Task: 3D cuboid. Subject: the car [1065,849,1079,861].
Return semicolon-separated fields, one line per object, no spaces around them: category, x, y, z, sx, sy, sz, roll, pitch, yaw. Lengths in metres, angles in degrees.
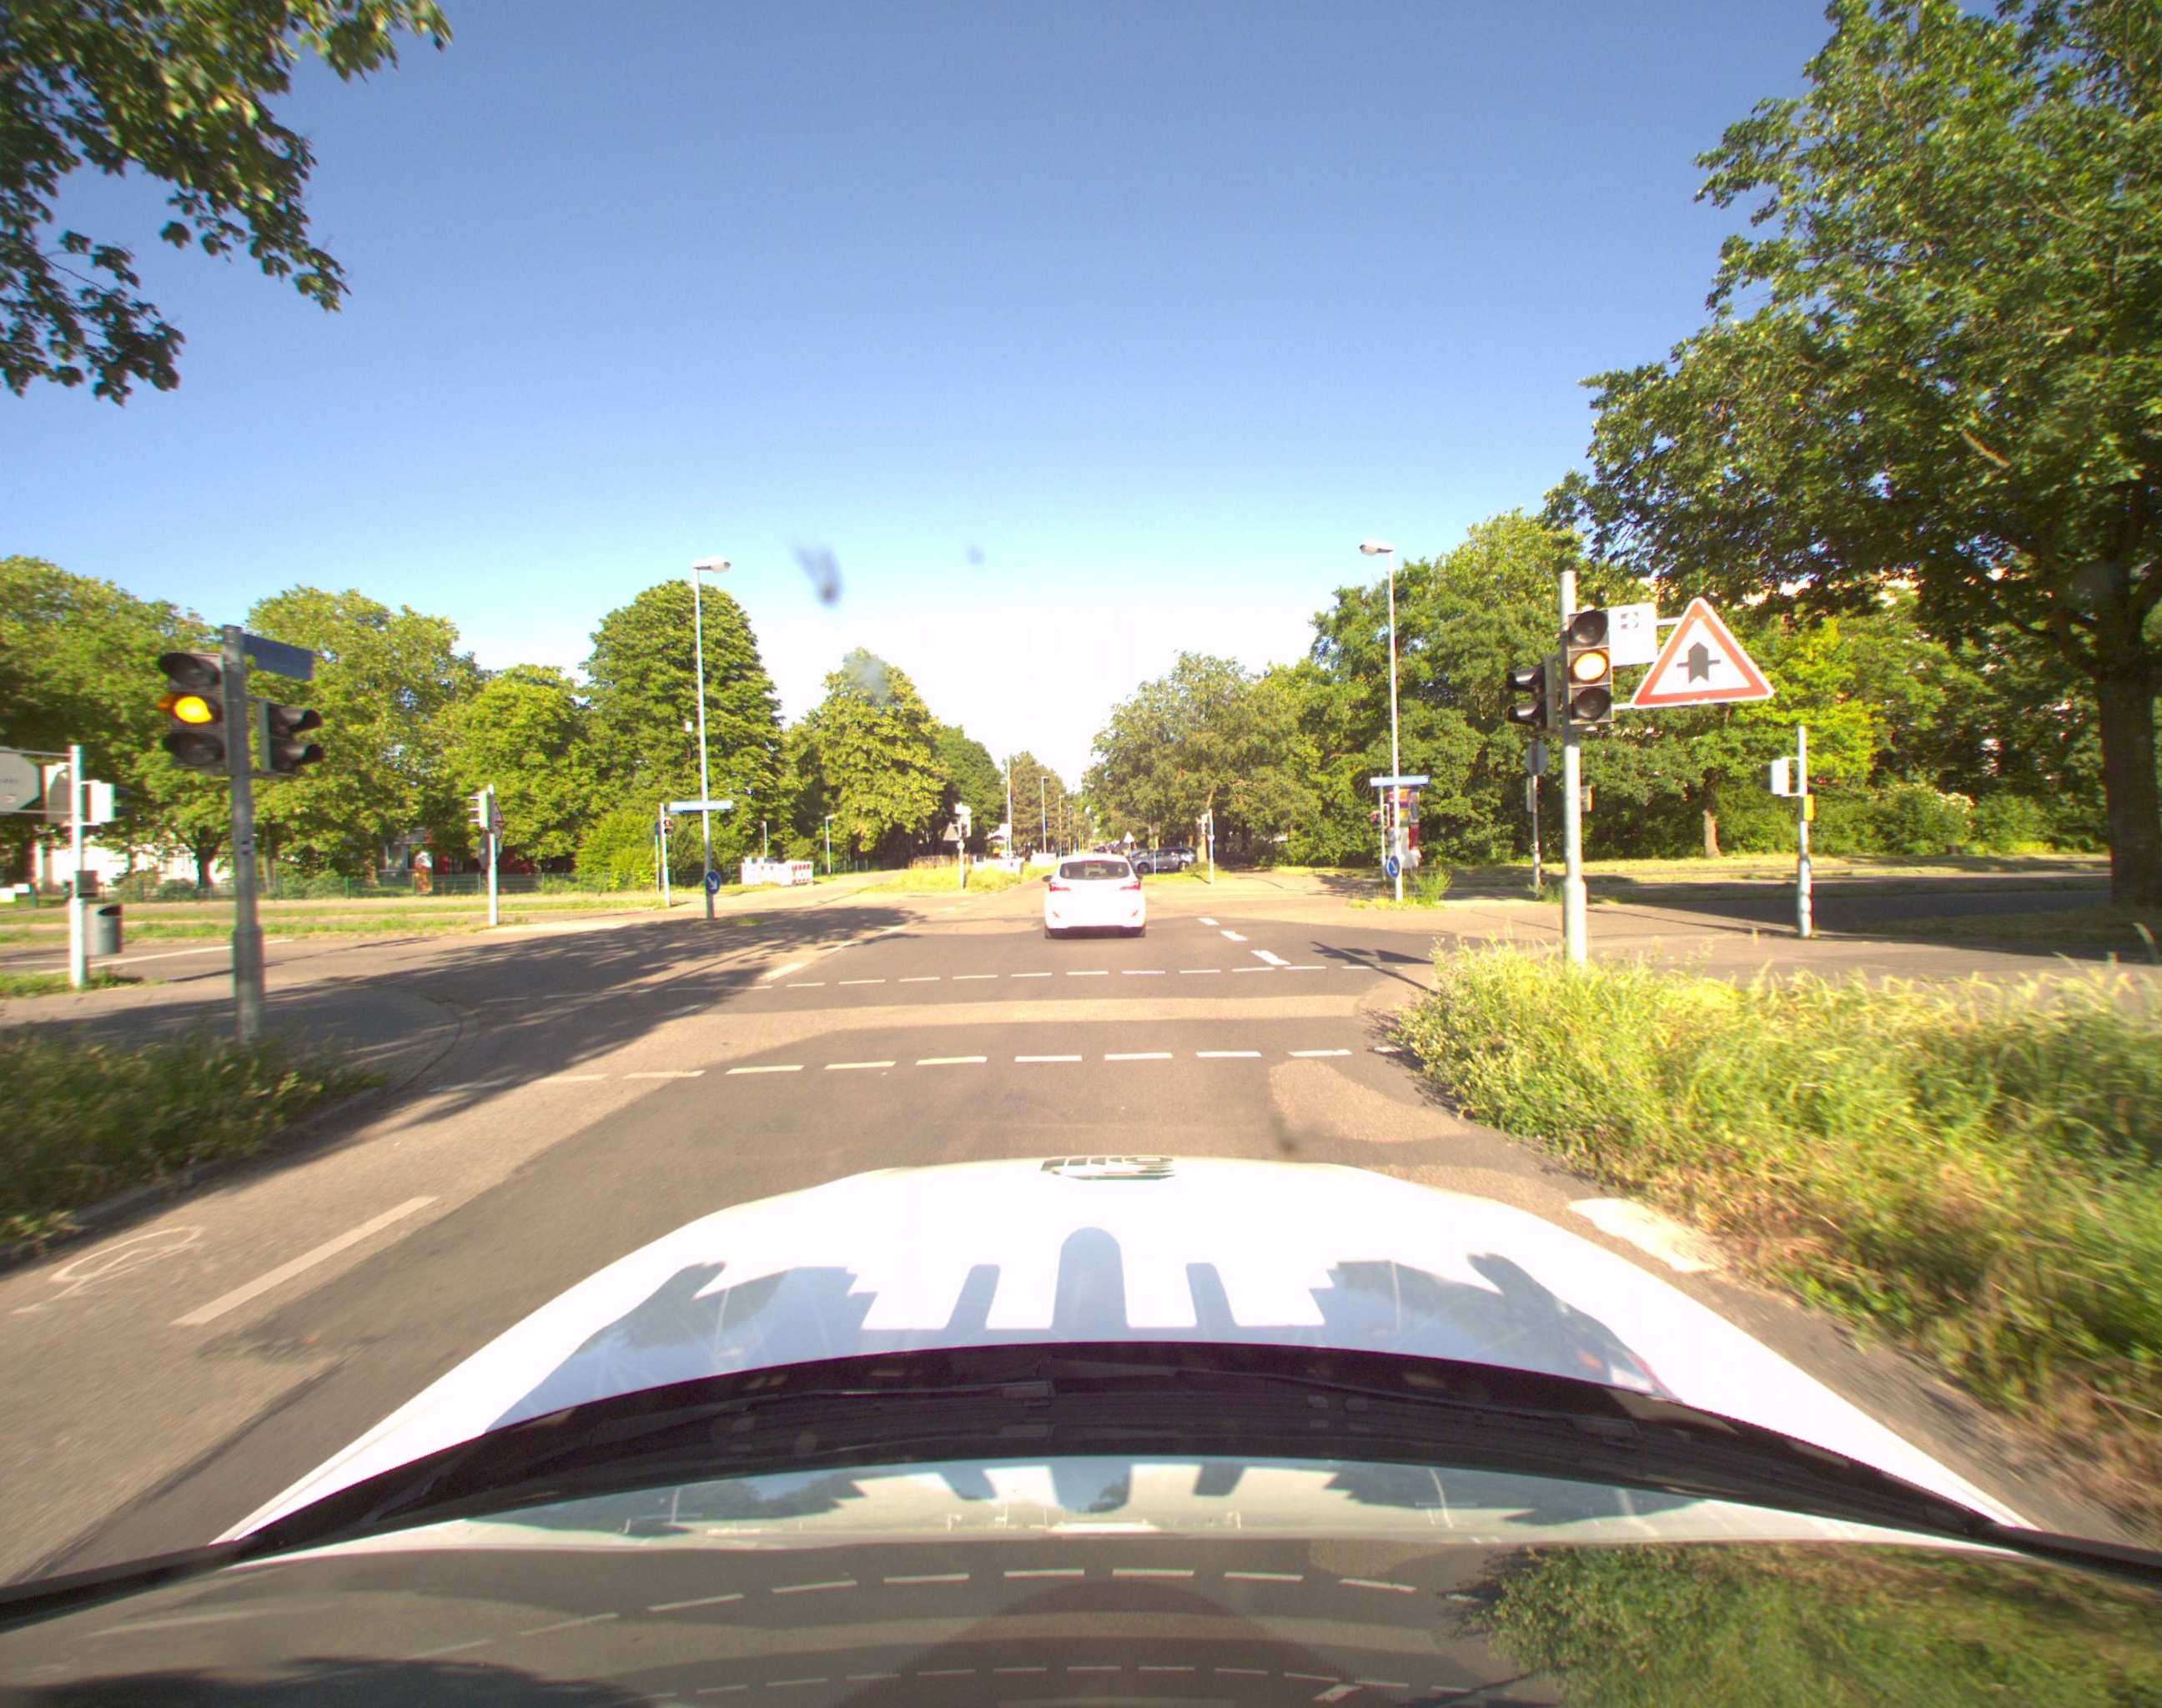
car;-1.433;0.165;127.822;1.986;1.816;4.002;-1;0;2

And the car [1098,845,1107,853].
car;4.718;-1.082;182.439;1.986;1.816;4.002;0;0;2

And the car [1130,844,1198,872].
car;5.612;0.239;55.252;4.479;1.783;1.857;-1;0;3

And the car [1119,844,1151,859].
car;6.458;-0.307;97.227;3.805;1.684;1.864;0;0;1

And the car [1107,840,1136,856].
car;5.275;-0.818;107.289;3.805;2.098;1.864;0;0;1

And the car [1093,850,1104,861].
car;3.084;0.243;144.096;1.986;1.816;4.002;1;0;2

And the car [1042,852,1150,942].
car;0.259;0.713;15.564;1.784;1.463;3.963;-1;0;0

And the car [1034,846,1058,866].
car;-3.372;0.200;79.290;1.986;1.815;4.002;0;2;2

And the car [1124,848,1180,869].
car;5.878;0.361;67.388;4.479;1.630;1.857;-1;0;3

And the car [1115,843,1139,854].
car;7.406;-0.946;131.436;3.805;1.767;1.864;0;0;1

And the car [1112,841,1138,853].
car;7.264;-1.114;134.589;4.286;1.907;1.864;0;0;1

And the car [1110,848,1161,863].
car;6.070;0.184;90.712;5.593;1.684;1.949;0;0;1

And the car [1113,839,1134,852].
car;7.610;-1.597;146.024;3.805;2.299;1.864;0;0;1
